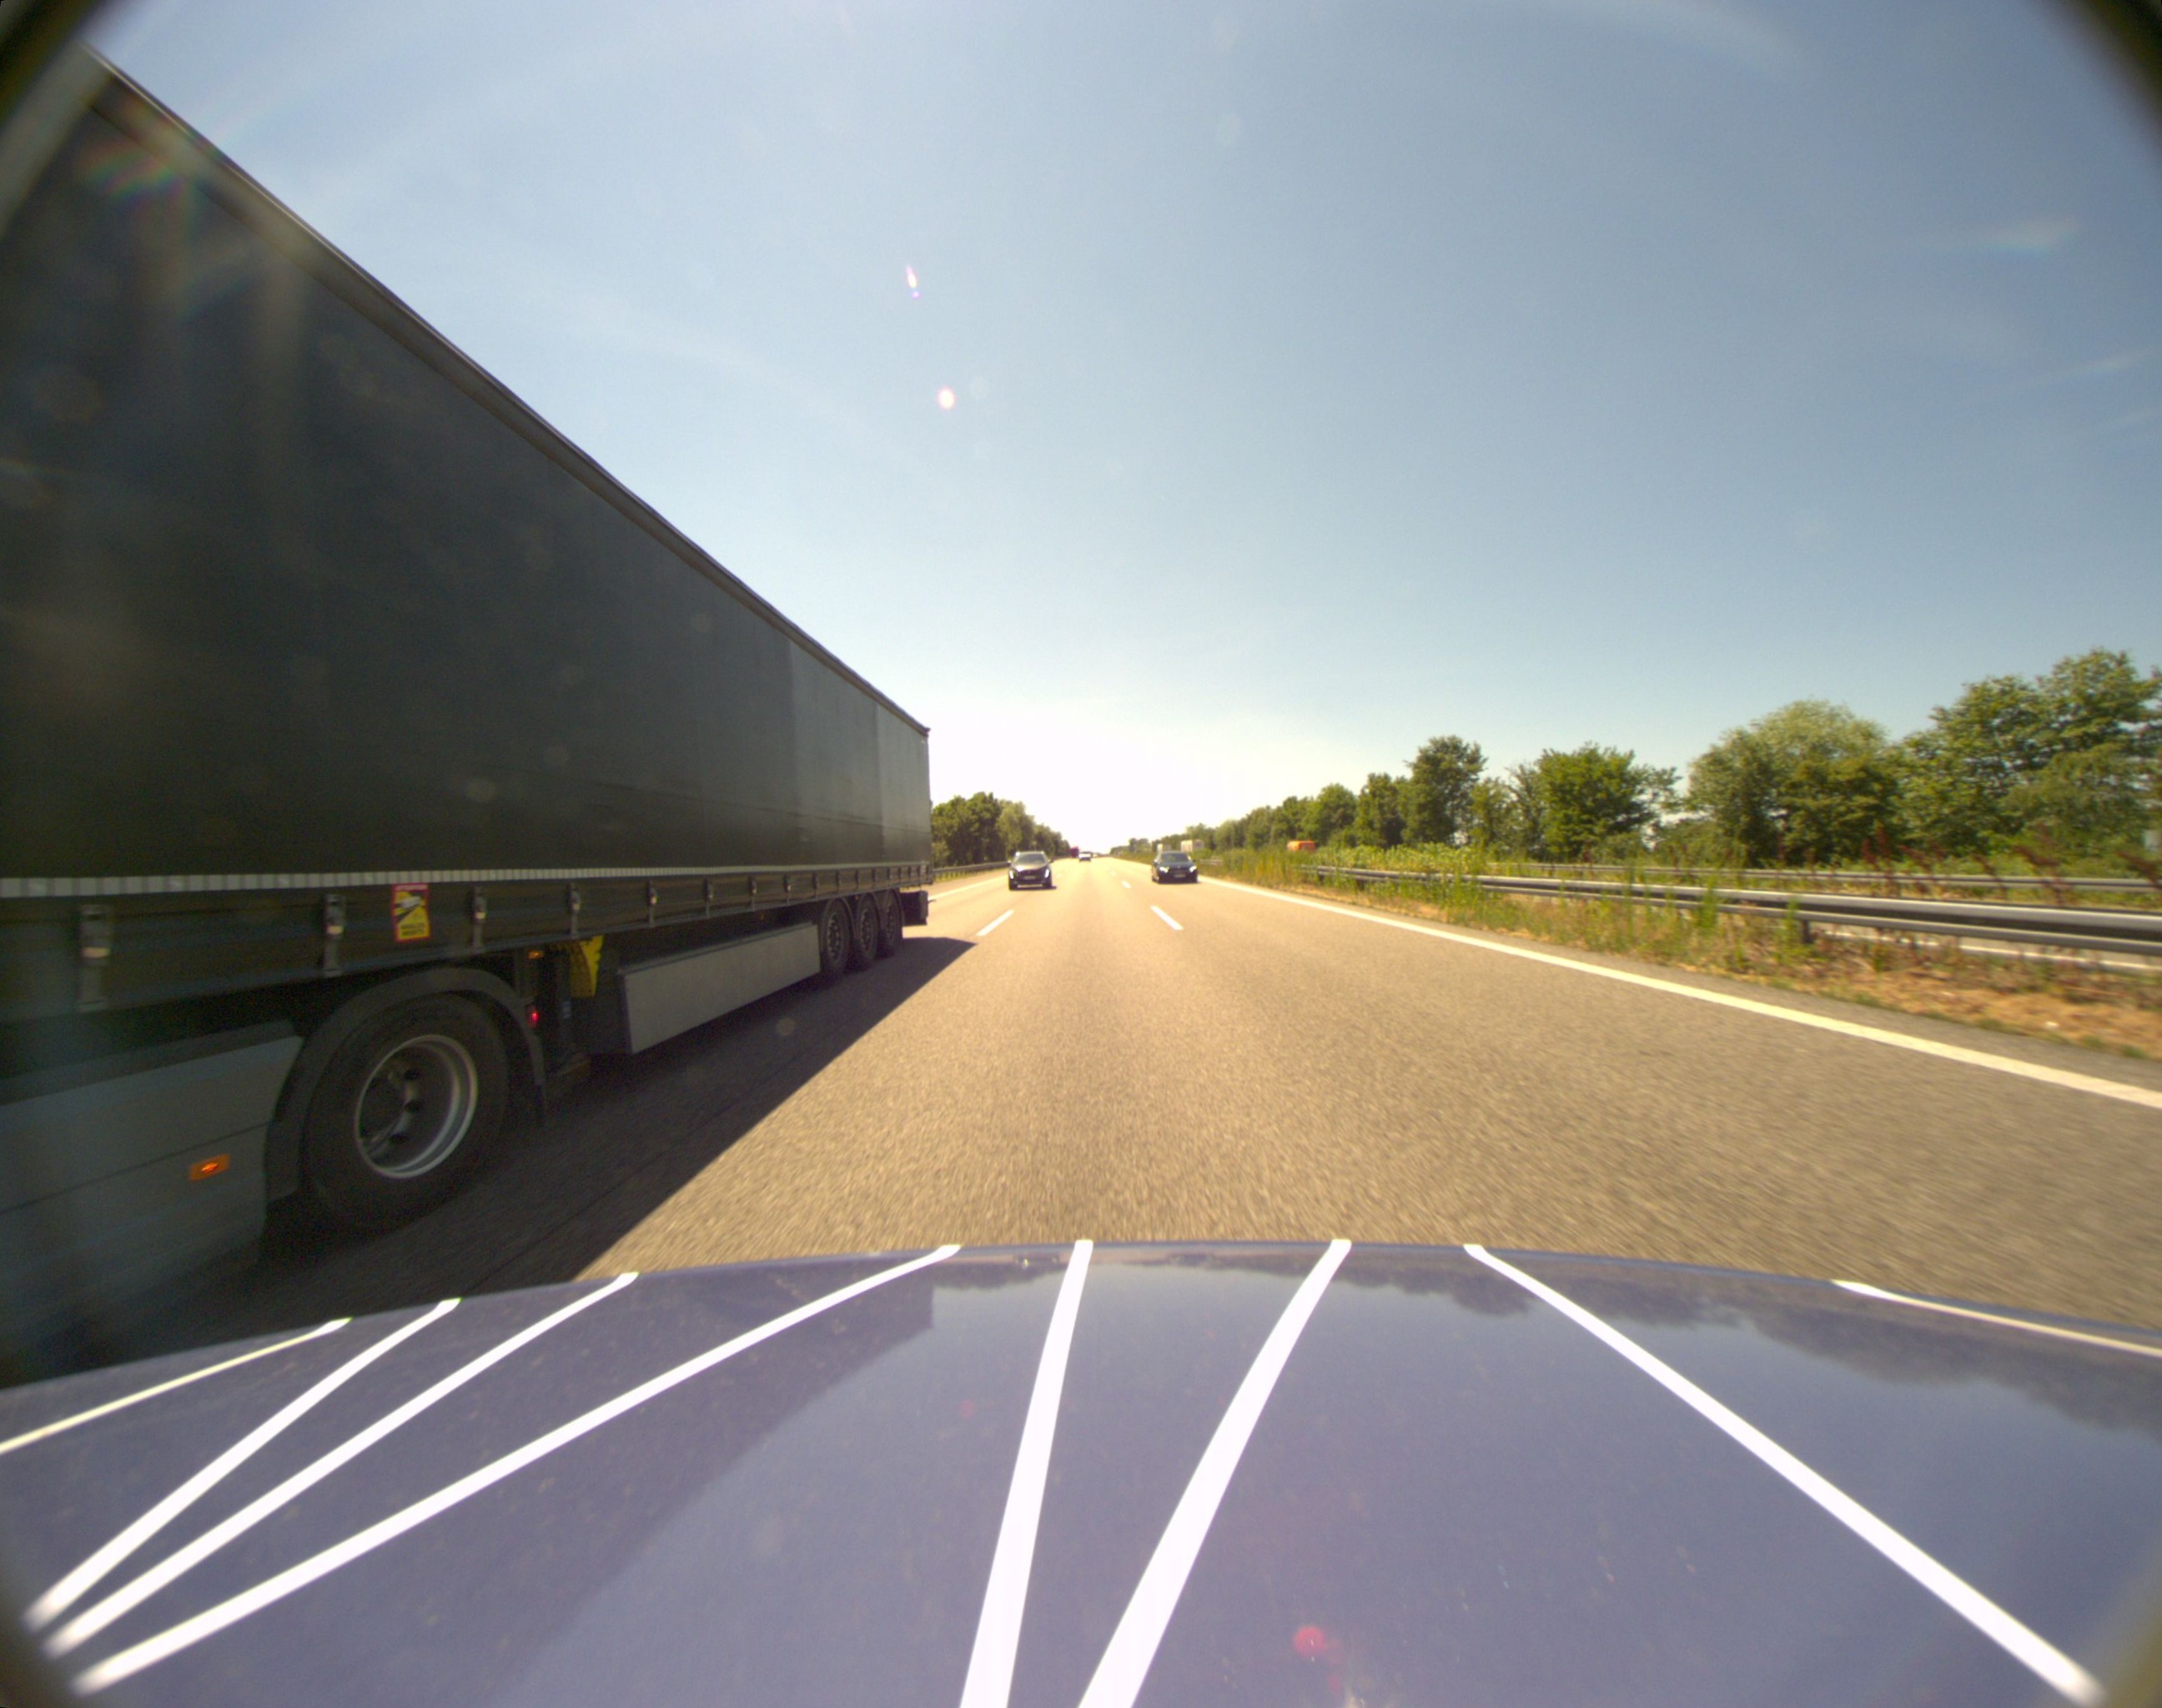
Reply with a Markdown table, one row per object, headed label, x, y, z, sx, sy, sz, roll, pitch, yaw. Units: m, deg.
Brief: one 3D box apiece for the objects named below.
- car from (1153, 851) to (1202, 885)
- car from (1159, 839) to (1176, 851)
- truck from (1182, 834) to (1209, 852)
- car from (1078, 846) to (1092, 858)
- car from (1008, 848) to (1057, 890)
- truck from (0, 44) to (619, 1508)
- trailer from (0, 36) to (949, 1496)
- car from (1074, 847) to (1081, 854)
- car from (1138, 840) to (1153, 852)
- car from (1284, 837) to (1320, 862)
| label | x | y | z | sx | sy | sz | roll | pitch | yaw |
| --- | --- | --- | --- | --- | --- | --- | --- | --- | --- |
| car | 4.377 | 0.595 | 35.021 | 1.796 | 1.403 | 4.052 | -1 | 1 | 1 |
| car | 24.171 | -2.534 | 213.413 | 3.516 | 3.274 | 8.513 | -2 | 1 | 0 |
| truck | 23.555 | -2.160 | 156.714 | 4.121 | 3.418 | 10.688 | -2 | 1 | 1 |
| car | 0.728 | -0.377 | 126.235 | 2.147 | 1.810 | 5.267 | -2 | 0 | 1 |
| car | -2.071 | 0.624 | 33.678 | 1.796 | 1.696 | 4.000 | -2 | 0 | 1 |
| truck | -4.182 | -0.206 | 1.331 | 2.559 | 3.931 | 6.513 | -2 | 1 | 1 |
| trailer | -4.101 | -0.279 | 8.587 | 2.559 | 3.931 | 13.537 | -2 | 0 | 1 |
| car | -0.971 | -1.087 | 231.062 | 1.998 | 2.002 | 4.000 | -2 | 0 | 1 |
| car | 19.214 | -2.474 | 227.136 | 3.516 | 3.274 | 8.513 | -2 | 1 | 0 |
| car | 22.252 | -0.486 | 76.788 | 2.187 | 2.423 | 4.955 | 1 | 1 | 0 |
